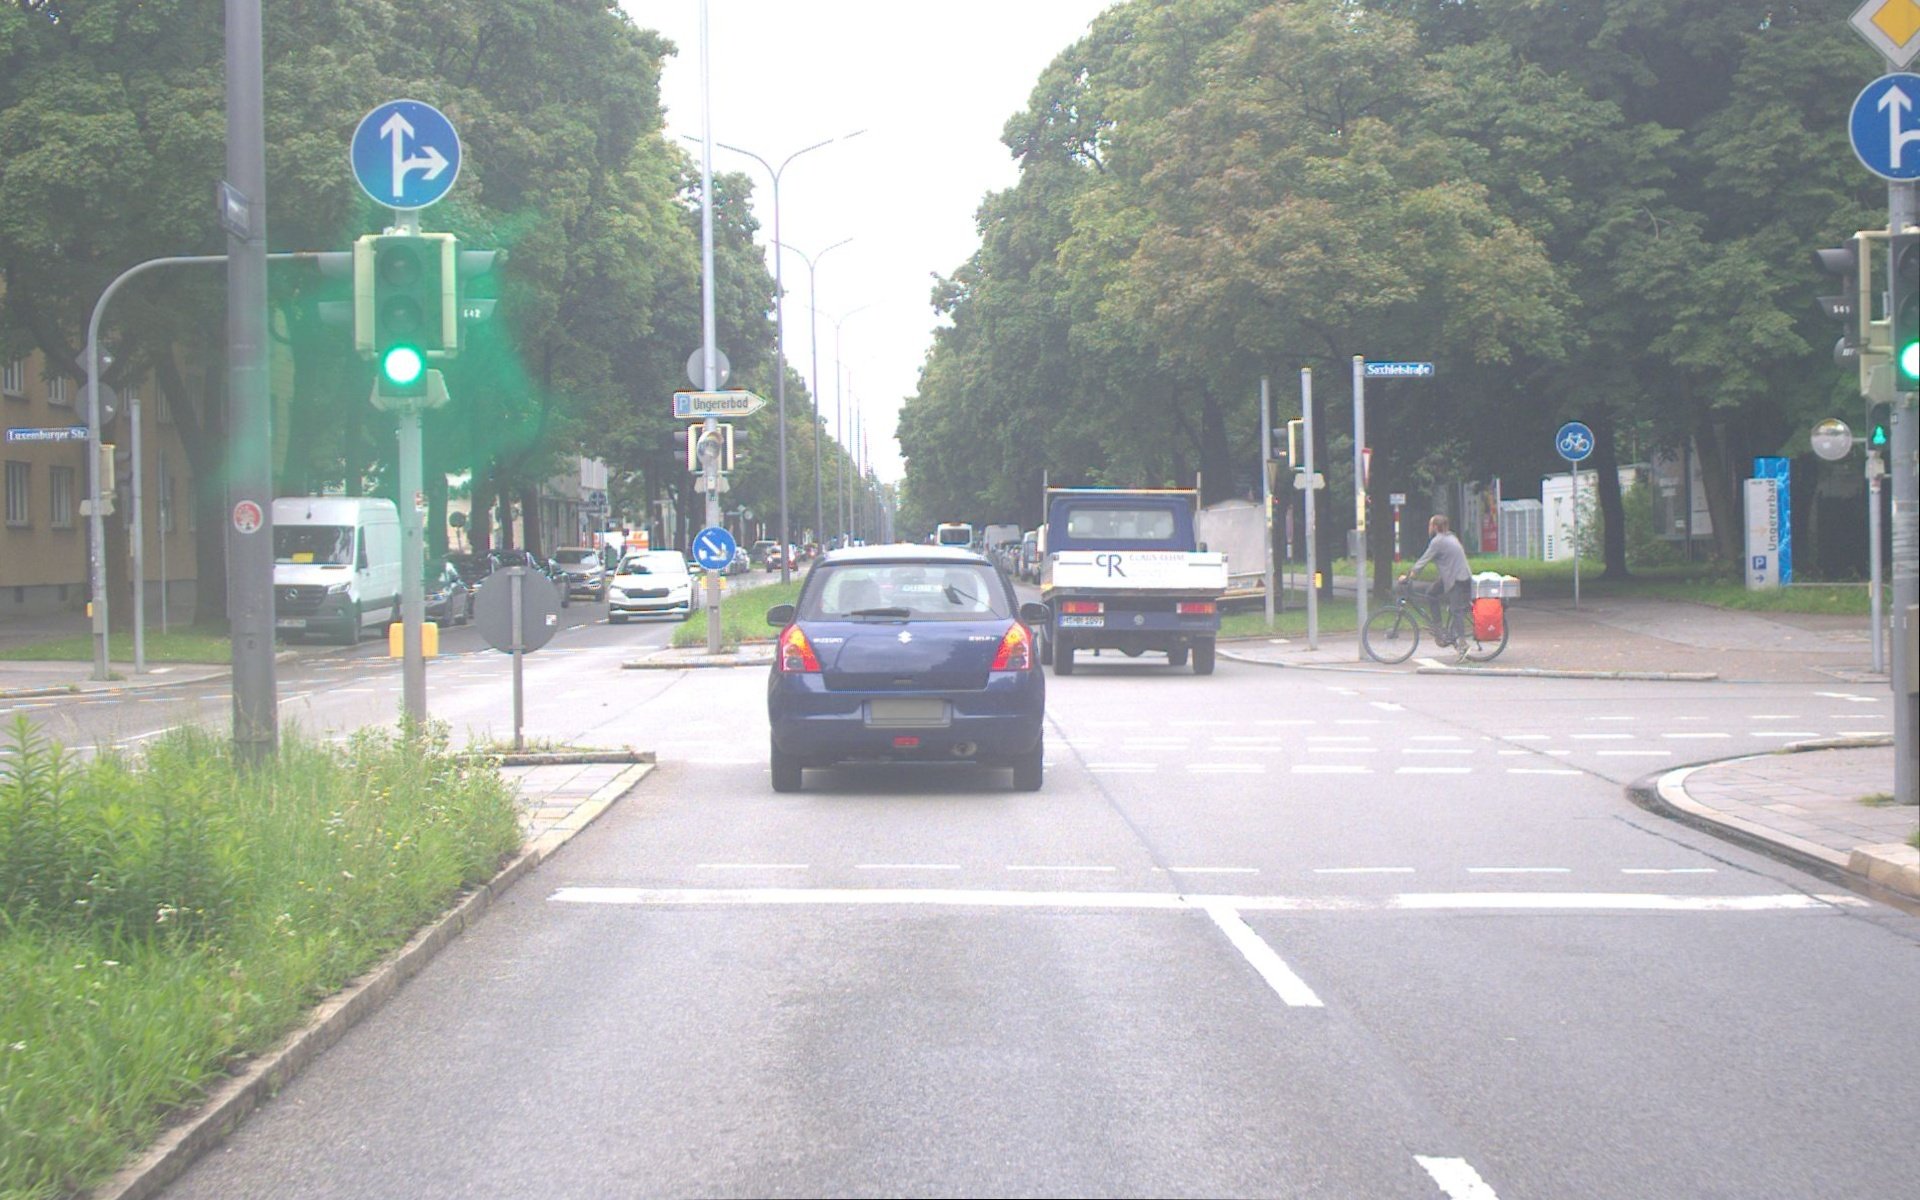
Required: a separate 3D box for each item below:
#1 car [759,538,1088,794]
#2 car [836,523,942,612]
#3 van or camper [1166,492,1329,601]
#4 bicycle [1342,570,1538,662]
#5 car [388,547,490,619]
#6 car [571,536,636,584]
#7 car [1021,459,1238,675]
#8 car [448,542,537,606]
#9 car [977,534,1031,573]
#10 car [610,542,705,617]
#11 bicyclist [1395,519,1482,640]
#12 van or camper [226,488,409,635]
[{"bbox_3d":[-0.319,0.358,22.059,1.896,1.494,3.661,0,1,-4],"label":"car"},{"bbox_3d":[-1.254,-0.593,60.782,1.799,1.494,3.660,-1,1,-1],"label":"car"},{"bbox_3d":[4.886,-0.931,59.059,2.125,1.787,4.508,0,1,-4],"label":"van or camper"},{"bbox_3d":[5.949,0.190,42.714,2.297,1.110,0.996,0,1,1],"label":"bicycle"},{"bbox_3d":[-11.176,-0.378,73.934,1.636,1.437,3.735,-2,1,-1],"label":"car"},{"bbox_3d":[-11.213,-1.264,108.230,1.636,1.437,3.735,-2,1,-1],"label":"car"},{"bbox_3d":[1.962,-0.427,41.511,2.419,2.436,5.087,0,1,1],"label":"car"},{"bbox_3d":[-11.238,-0.650,82.795,1.636,1.437,3.735,-2,1,-1],"label":"car"},{"bbox_3d":[1.702,-1.808,133.091,1.786,1.494,3.661,0,1,-4],"label":"car"},{"bbox_3d":[-6.225,-0.445,71.100,1.636,1.437,3.735,-2,1,-1],"label":"car"},{"bbox_3d":[5.938,-0.262,42.706,0.930,1.474,0.990,0,1,1],"label":"bicyclist"},{"bbox_3d":[-11.547,-0.723,62.240,2.140,2.467,6.259,-2,1,-1],"label":"van or camper"}]
